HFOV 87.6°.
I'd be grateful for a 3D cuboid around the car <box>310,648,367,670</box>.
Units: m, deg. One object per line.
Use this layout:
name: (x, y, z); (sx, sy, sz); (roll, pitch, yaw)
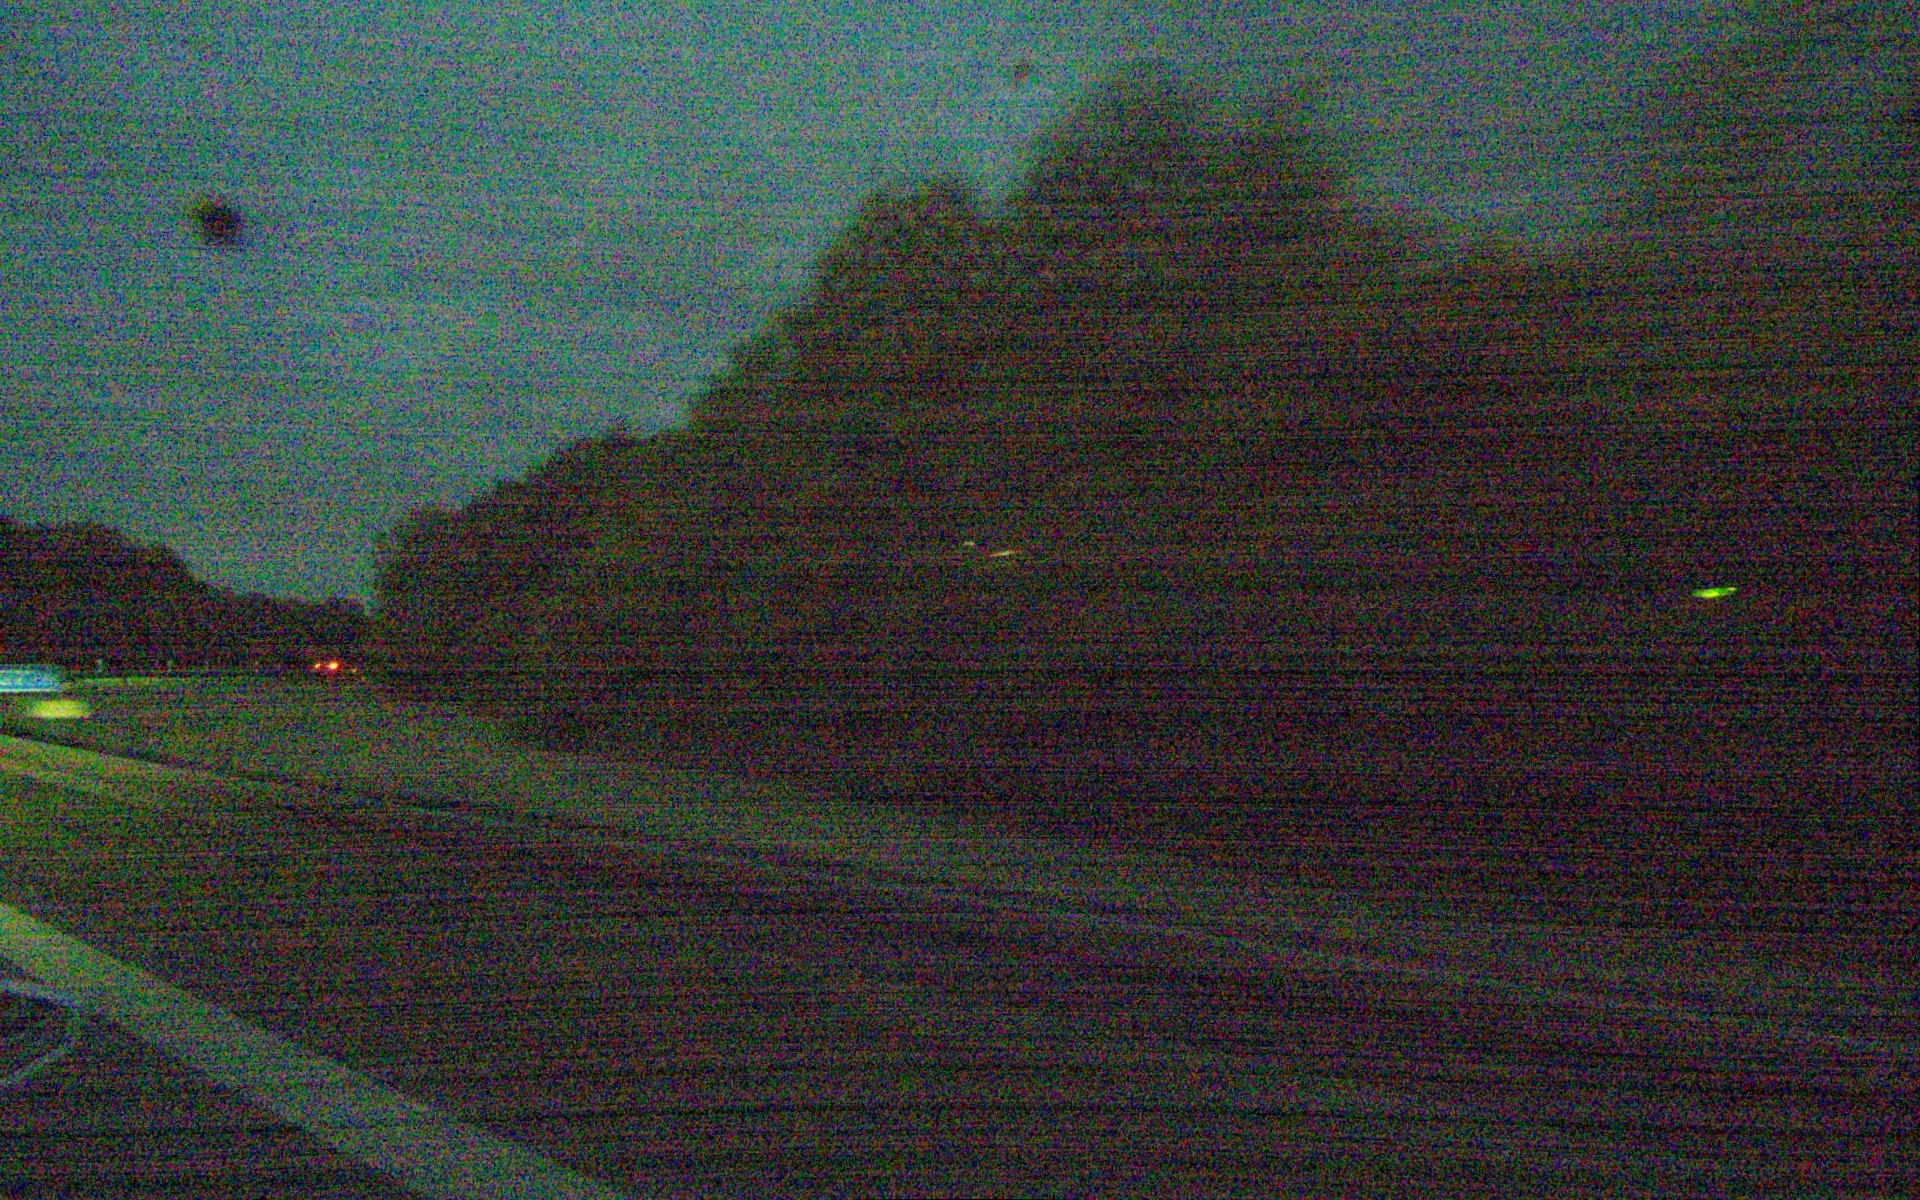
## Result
car: (-49.641, 4.720, 80.070); (1.961, 1.618, 4.004); (2, -3, -1)
